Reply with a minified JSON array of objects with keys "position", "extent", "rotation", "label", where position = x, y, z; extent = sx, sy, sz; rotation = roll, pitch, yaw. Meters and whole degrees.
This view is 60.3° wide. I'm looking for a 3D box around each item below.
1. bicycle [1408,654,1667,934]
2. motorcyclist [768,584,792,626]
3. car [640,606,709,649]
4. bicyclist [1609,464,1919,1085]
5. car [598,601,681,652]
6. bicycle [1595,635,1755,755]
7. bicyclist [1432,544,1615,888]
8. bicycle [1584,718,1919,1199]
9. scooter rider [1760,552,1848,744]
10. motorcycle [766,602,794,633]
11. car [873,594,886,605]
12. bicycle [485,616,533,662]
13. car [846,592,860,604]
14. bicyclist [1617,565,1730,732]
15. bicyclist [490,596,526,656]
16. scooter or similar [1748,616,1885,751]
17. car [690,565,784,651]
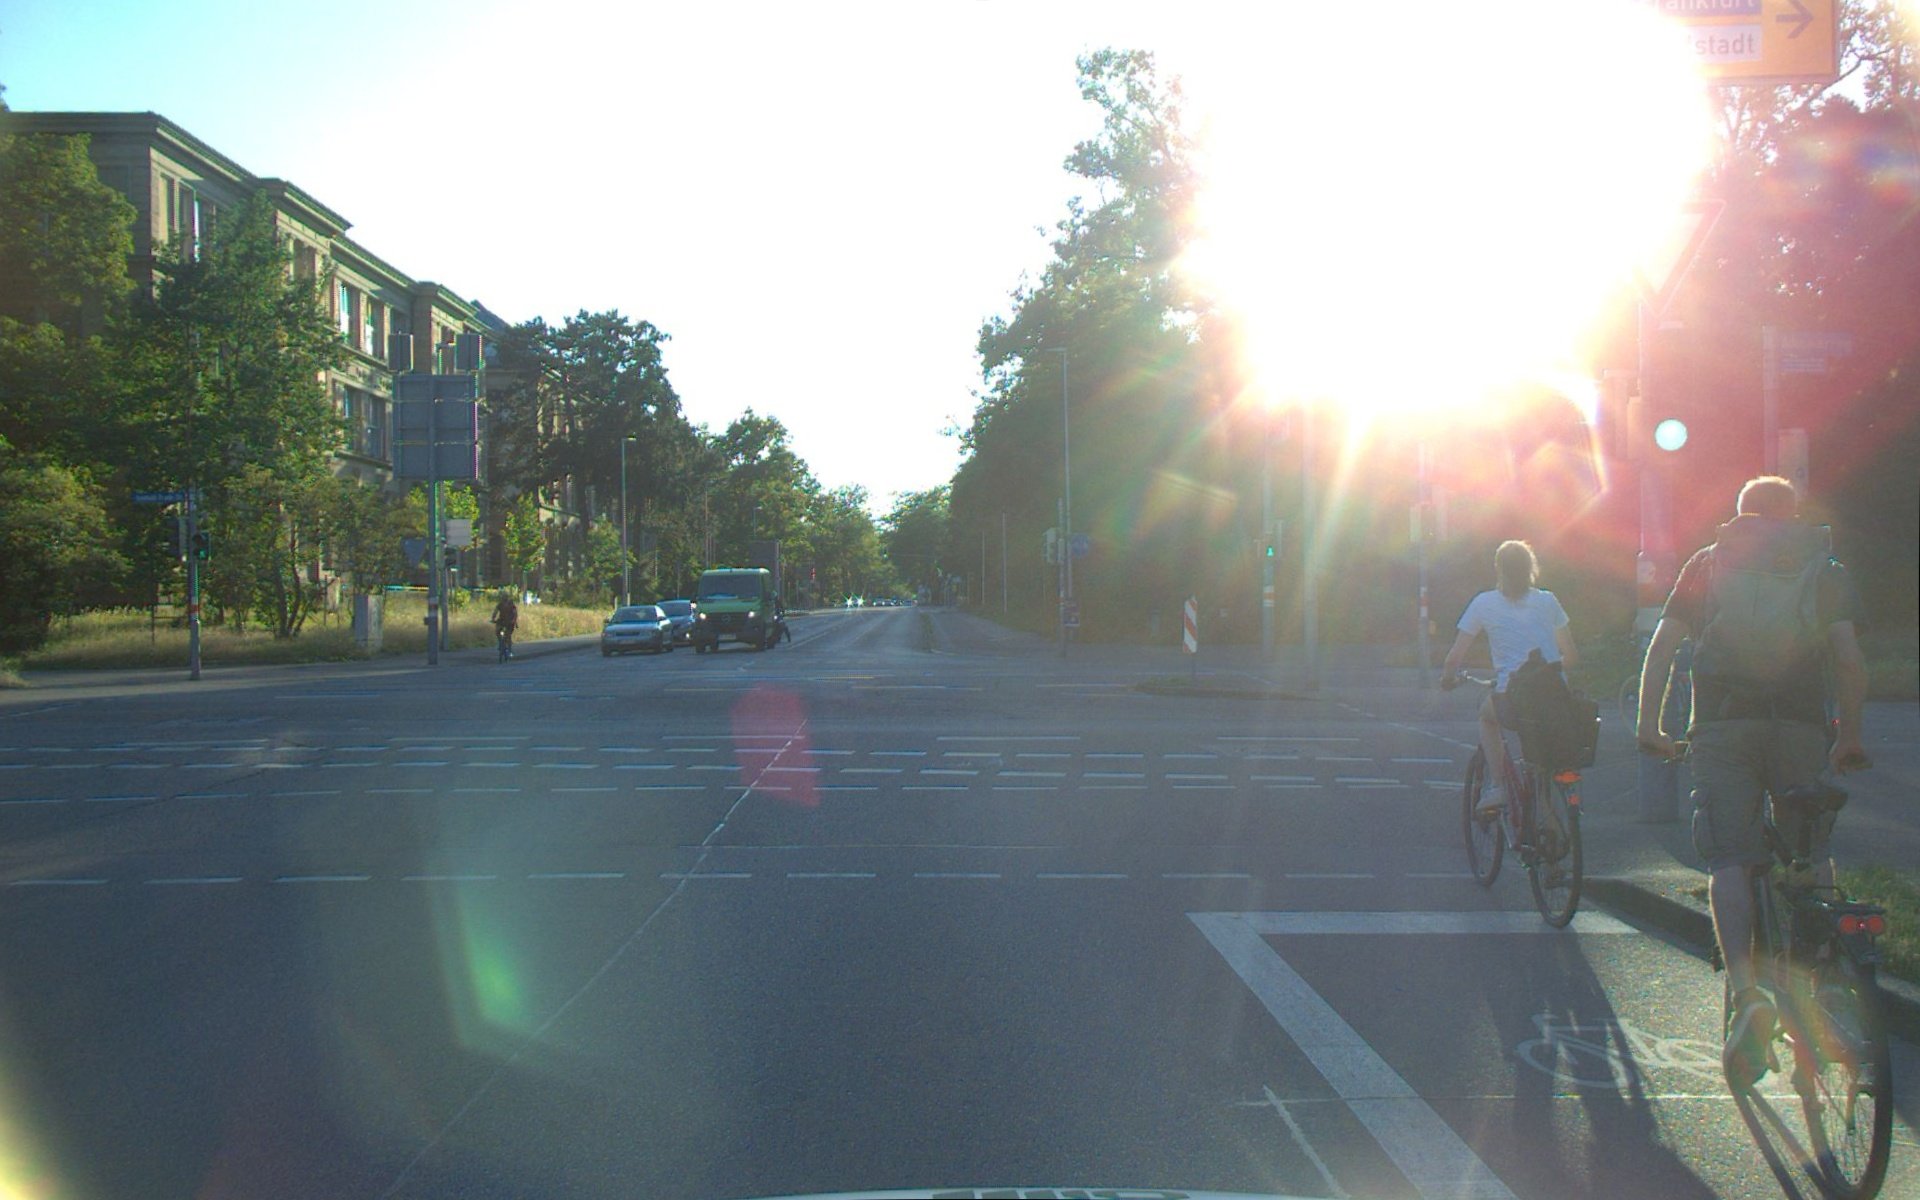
[{"position":[2.779,0.879,8.169],"extent":[0.601,1.158,1.884],"rotation":[0,0,-1],"label":"bicycle"},{"position":[-6.042,0.172,55.536],"extent":[0.734,1.382,0.704],"rotation":[-1,-1,-1],"label":"motorcyclist"},{"position":[-9.523,0.884,55.422],"extent":[1.729,1.351,3.642],"rotation":[-1,0,-1],"label":"car"},{"position":[2.415,0.474,4.939],"extent":[0.683,1.696,0.799],"rotation":[0,0,5],"label":"bicyclist"},{"position":[-9.441,0.757,48.983],"extent":[1.694,1.433,4.139],"rotation":[-1,0,-1],"label":"car"},{"position":[6.786,0.870,15.815],"extent":[0.755,1.024,2.017],"rotation":[0,0,3],"label":"bicycle"},{"position":[2.773,0.544,8.215],"extent":[0.591,1.613,0.909],"rotation":[0,0,-1],"label":"bicyclist"},{"position":[2.389,0.948,4.727],"extent":[0.684,1.081,1.826],"rotation":[0,0,6],"label":"bicycle"},{"position":[8.068,0.453,15.821],"extent":[0.554,1.797,0.505],"rotation":[-1,-1,0],"label":"scooter rider"},{"position":[-6.035,0.582,55.546],"extent":[0.739,1.019,1.878],"rotation":[-1,0,-1],"label":"motorcycle"},{"position":[-12.379,-0.132,254.247],"extent":[1.954,1.668,3.997],"rotation":[-1,0,-4],"label":"car"},{"position":[-11.777,1.012,43.238],"extent":[0.672,1.143,2.168],"rotation":[-1,0,-1],"label":"bicycle"},{"position":[-13.734,-0.237,212.110],"extent":[1.735,1.500,3.772],"rotation":[-1,0,-5],"label":"car"},{"position":[6.783,0.448,15.766],"extent":[0.743,1.544,0.857],"rotation":[0,0,3],"label":"bicyclist"},{"position":[-11.772,0.679,43.128],"extent":[0.669,1.539,0.955],"rotation":[-1,0,-1],"label":"bicyclist"},{"position":[8.069,0.757,15.640],"extent":[0.550,1.210,1.422],"rotation":[0,-1,0],"label":"scooter or similar"},{"position":[-6.440,0.219,48.305],"extent":[1.997,2.317,5.940],"rotation":[-1,0,-1],"label":"car"}]
